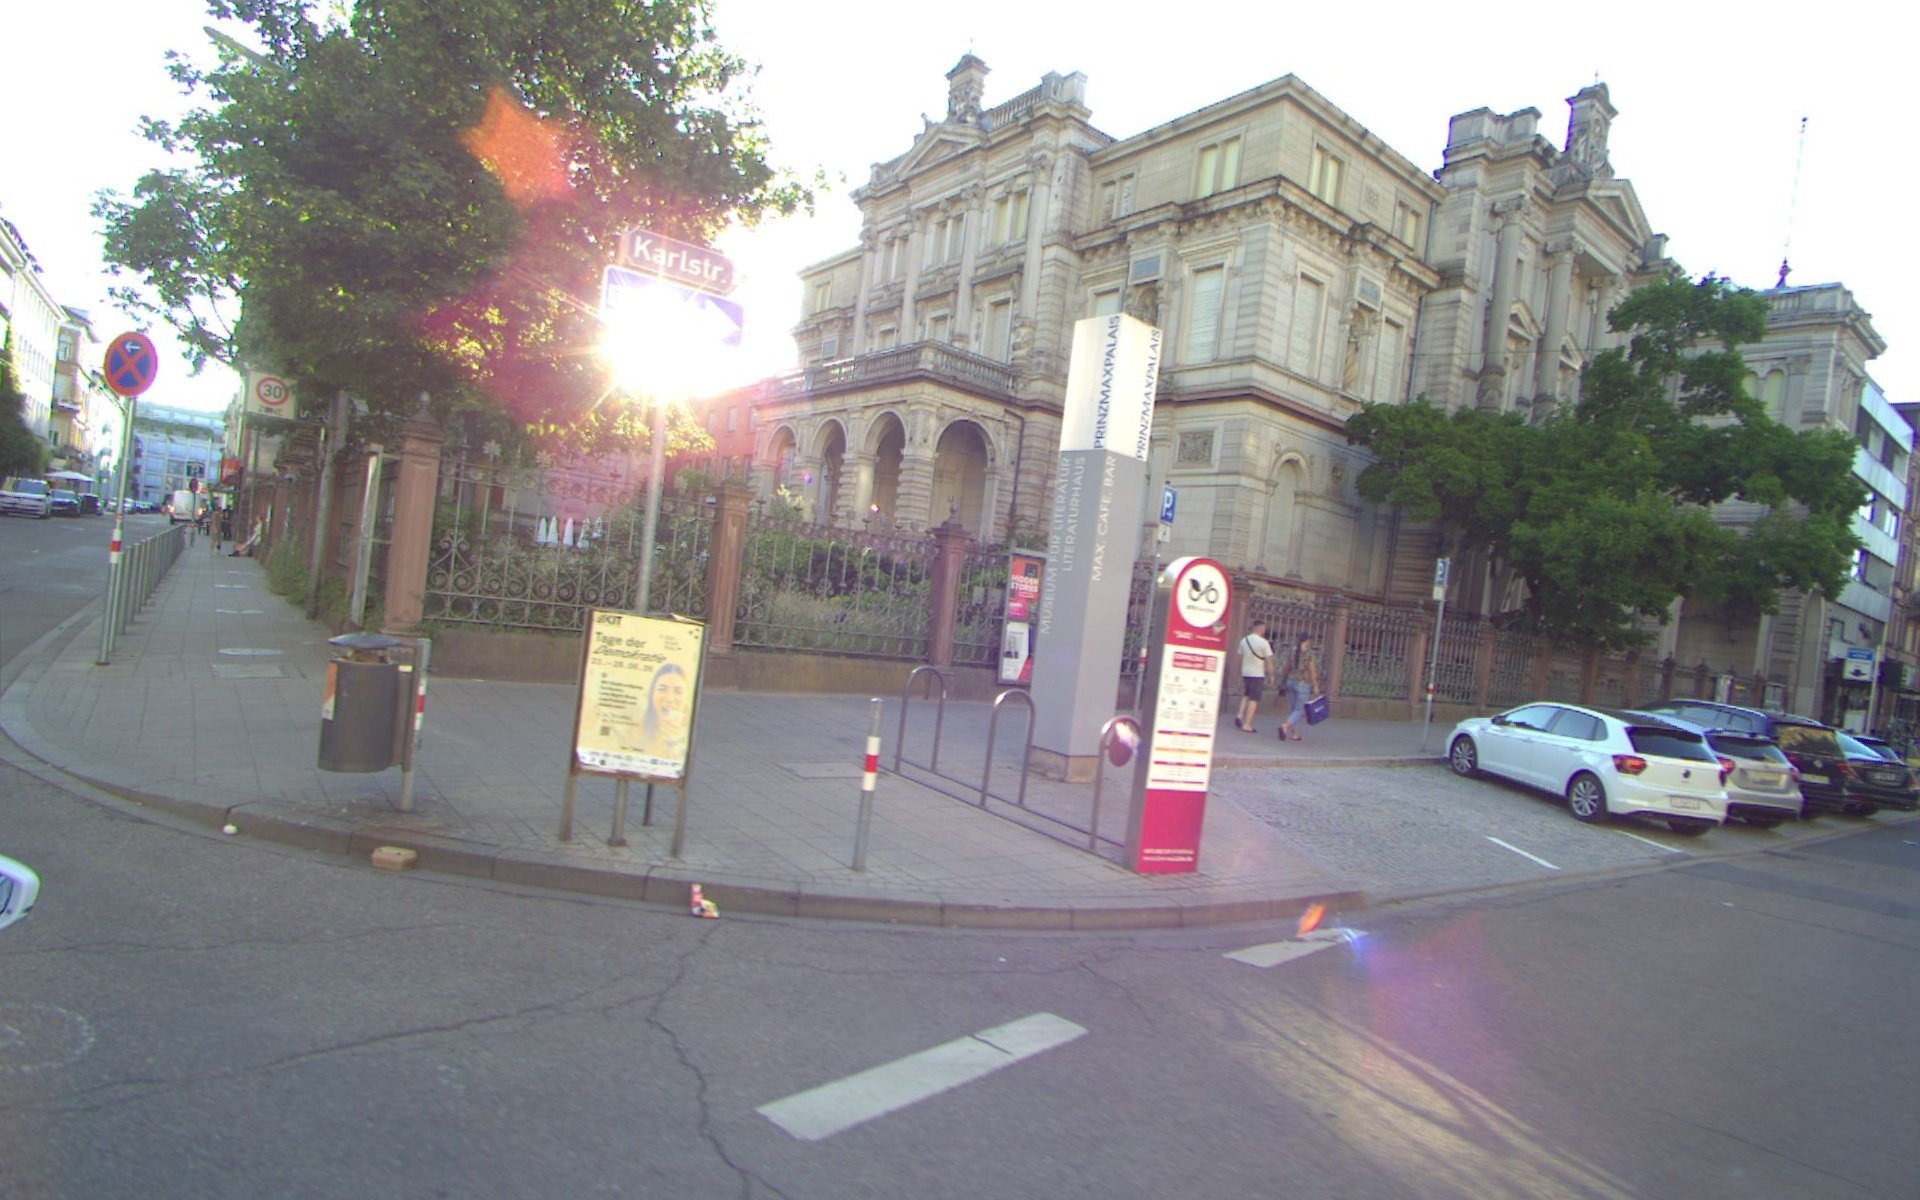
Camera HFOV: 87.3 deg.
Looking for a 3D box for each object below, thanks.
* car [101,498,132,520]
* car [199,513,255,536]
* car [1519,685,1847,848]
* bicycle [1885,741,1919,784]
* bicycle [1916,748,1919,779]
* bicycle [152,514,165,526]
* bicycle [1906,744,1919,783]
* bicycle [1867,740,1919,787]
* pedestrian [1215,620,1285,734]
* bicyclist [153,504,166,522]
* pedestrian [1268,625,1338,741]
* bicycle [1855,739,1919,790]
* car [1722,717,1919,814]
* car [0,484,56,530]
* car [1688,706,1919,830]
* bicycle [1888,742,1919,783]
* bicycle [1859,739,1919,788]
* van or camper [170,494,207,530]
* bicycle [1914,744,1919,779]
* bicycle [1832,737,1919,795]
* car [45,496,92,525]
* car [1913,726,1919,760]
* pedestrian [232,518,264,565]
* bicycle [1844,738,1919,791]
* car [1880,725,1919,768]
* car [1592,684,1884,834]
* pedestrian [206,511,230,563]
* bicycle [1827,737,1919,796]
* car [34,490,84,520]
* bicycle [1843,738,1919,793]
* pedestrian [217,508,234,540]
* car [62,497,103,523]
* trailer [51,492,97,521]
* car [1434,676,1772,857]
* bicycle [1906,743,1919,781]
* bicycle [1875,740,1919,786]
[{"bbox_3d":[-81.860,-8.795,97.629,1.983,1.704,3.960,7,-1,-37],"label":"car"},{"bbox_3d":[-66.046,-6.790,90.657,3.967,1.437,1.639,7,-1,-38],"label":"car"},{"bbox_3d":[11.082,2.477,15.846,1.726,1.546,3.989,7,2,-9],"label":"car"},{"bbox_3d":[27.997,4.775,28.678,0.711,1.103,2.275,7,0,-41],"label":"bicycle"},{"bbox_3d":[31.898,5.303,31.806,0.711,1.103,2.275,7,0,-41],"label":"bicycle"},{"bbox_3d":[-92.000,-9.184,115.460,0.970,1.296,2.726,7,-1,-37],"label":"bicycle"},{"bbox_3d":[29.676,5.018,29.787,0.711,1.103,2.275,7,0,-41],"label":"bicycle"},{"bbox_3d":[26.385,4.559,27.456,0.711,1.103,2.275,7,0,-41],"label":"bicycle"},{"bbox_3d":[4.603,1.220,15.941,0.632,1.691,0.702,9,2,38],"label":"pedestrian"},{"bbox_3d":[-91.975,-10.012,115.533,0.985,1.891,0.701,6,0,-38],"label":"bicyclist"},{"bbox_3d":[5.381,1.298,15.783,0.632,1.691,0.702,9,2,38],"label":"pedestrian"},{"bbox_3d":[24.976,4.367,26.258,0.711,1.103,2.275,7,0,-41],"label":"bicycle"},{"bbox_3d":[18.724,3.504,21.683,1.722,1.430,4.003,7,-1,6],"label":"car"},{"bbox_3d":[-46.801,-4.654,50.357,1.875,1.936,4.696,7,0,-39],"label":"car"},{"bbox_3d":[15.898,3.051,18.874,1.722,1.627,4.003,7,-1,6],"label":"car"},{"bbox_3d":[28.626,4.861,29.246,0.711,1.103,2.275,7,0,-41],"label":"bicycle"},{"bbox_3d":[25.661,4.461,26.899,0.711,1.103,2.275,7,0,-41],"label":"bicycle"},{"bbox_3d":[-61.689,-7.019,80.471,2.243,2.643,5.060,1,3,-37],"label":"van or camper"},{"bbox_3d":[31.262,5.215,31.225,0.711,1.103,2.275,7,0,-41],"label":"bicycle"},{"bbox_3d":[22.703,4.058,24.335,0.711,1.103,2.275,7,0,-41],"label":"bicycle"},{"bbox_3d":[-56.163,-5.637,63.429,1.875,1.471,3.957,7,0,-39],"label":"car"},{"bbox_3d":[42.503,6.283,41.759,1.740,1.430,3.960,7,-1,-37],"label":"car"},{"bbox_3d":[-24.151,-1.987,34.119,0.746,1.519,0.611,4,3,-43],"label":"pedestrian"},{"bbox_3d":[24.172,4.259,25.679,0.711,1.103,2.275,7,0,-41],"label":"bicycle"},{"bbox_3d":[36.774,5.651,37.018,1.740,1.430,3.960,7,-1,-37],"label":"car"},{"bbox_3d":[13.306,2.636,17.582,1.723,1.743,3.997,7,1,-2],"label":"car"},{"bbox_3d":[-24.907,-2.121,33.774,0.482,1.680,0.611,3,3,-45],"label":"pedestrian"},{"bbox_3d":[22.090,3.974,23.781,0.711,1.103,2.275,7,0,-41],"label":"bicycle"},{"bbox_3d":[-53.398,-5.625,59.700,1.875,1.471,3.957,7,0,-39],"label":"car"},{"bbox_3d":[23.604,4.179,25.061,0.711,1.103,2.275,7,0,-41],"label":"bicycle"},{"bbox_3d":[-40.571,-4.191,55.572,0.658,1.688,0.617,4,3,-37],"label":"pedestrian"},{"bbox_3d":[-61.524,-6.301,70.592,1.875,1.471,3.957,7,0,-39],"label":"car"},{"bbox_3d":[-58.780,-6.186,66.807,1.984,1.576,3.957,7,-1,-39],"label":"trailer"},{"bbox_3d":[8.822,2.211,14.283,1.726,1.467,3.897,7,4,-9],"label":"car"},{"bbox_3d":[30.272,5.082,30.447,0.711,1.103,2.275,7,0,-41],"label":"bicycle"},{"bbox_3d":[27.112,4.656,28.018,0.711,1.103,2.275,7,0,-41],"label":"bicycle"}]
